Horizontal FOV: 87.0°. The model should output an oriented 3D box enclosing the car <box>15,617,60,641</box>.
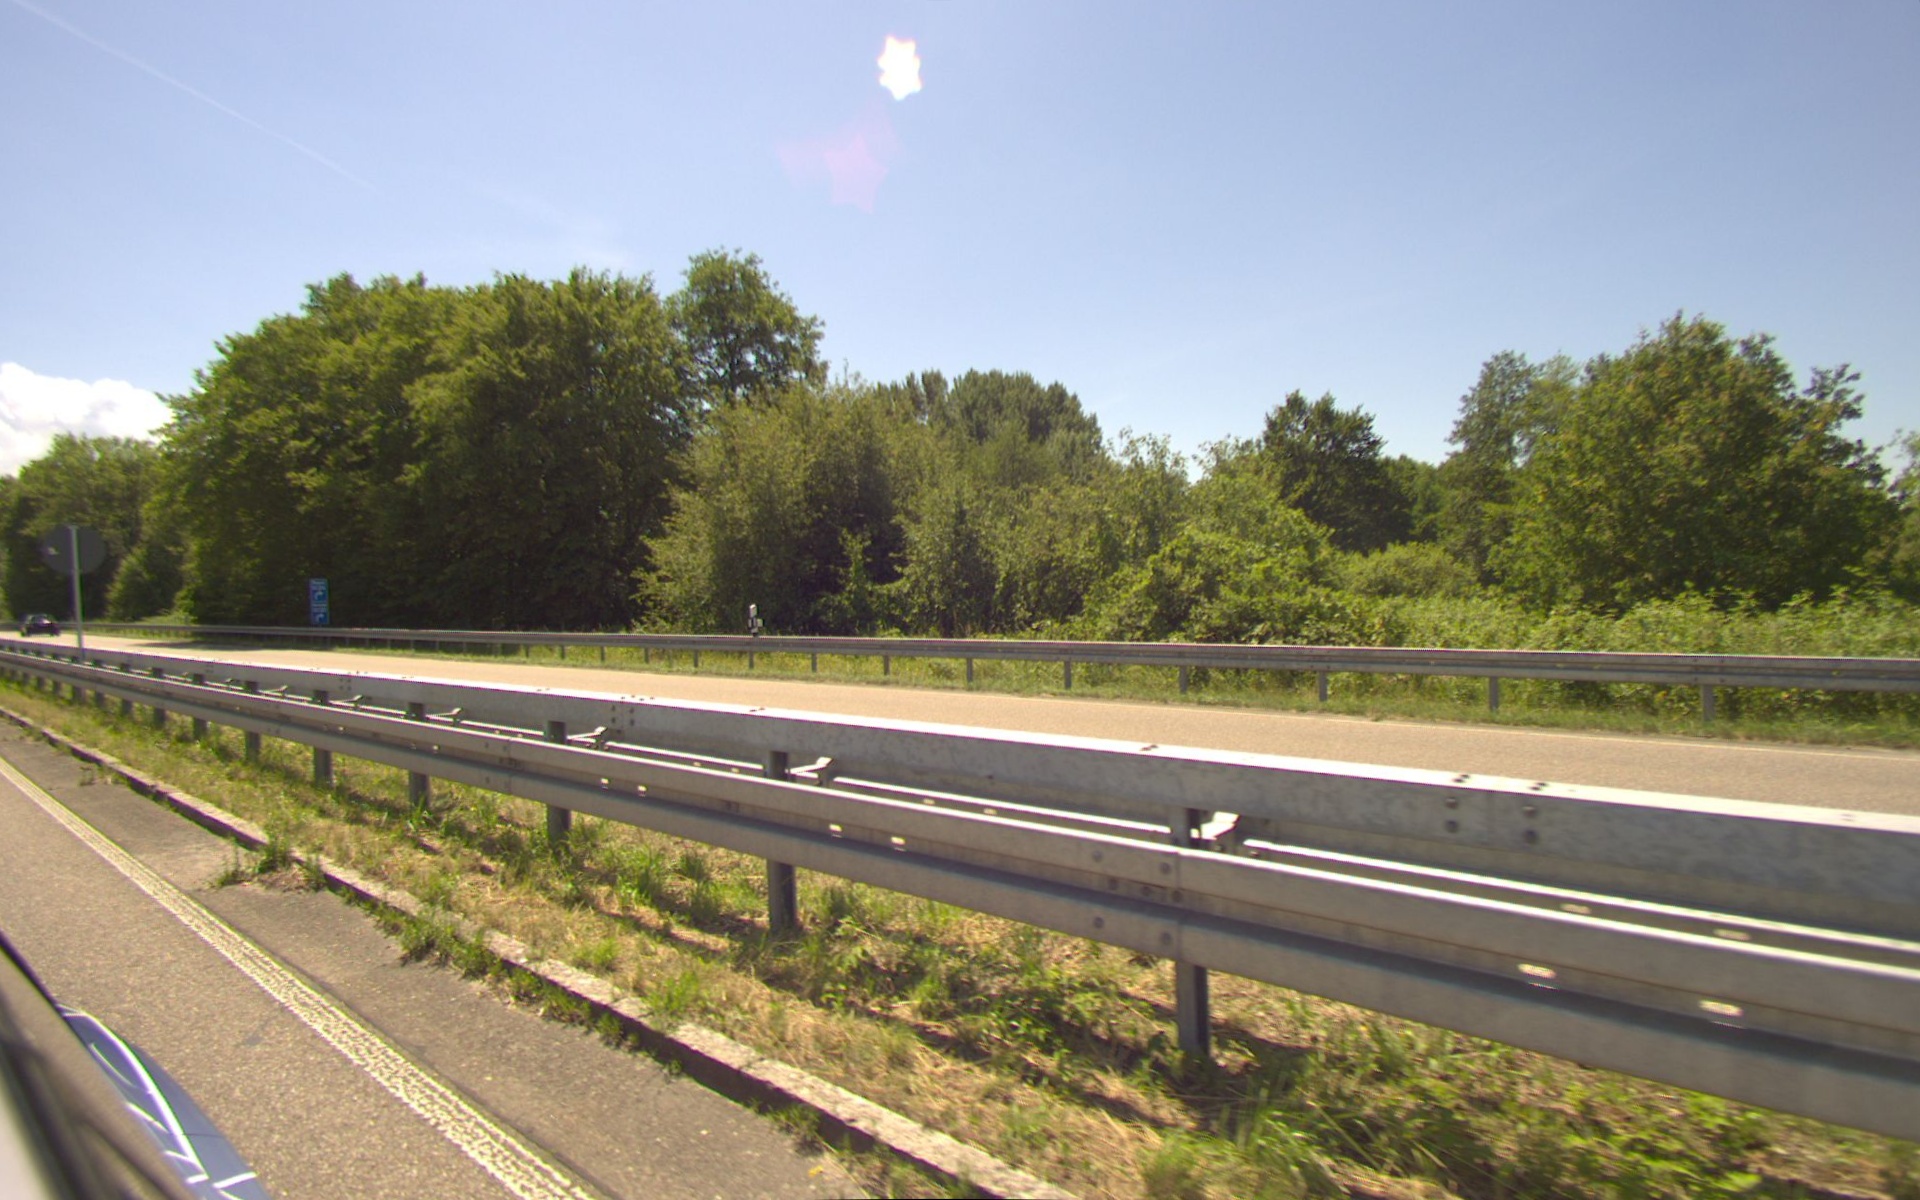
[{"bbox_3d":[-59.692,1.862,65.498,3.772,1.479,1.779,-1,0,42],"label":"car"}]
